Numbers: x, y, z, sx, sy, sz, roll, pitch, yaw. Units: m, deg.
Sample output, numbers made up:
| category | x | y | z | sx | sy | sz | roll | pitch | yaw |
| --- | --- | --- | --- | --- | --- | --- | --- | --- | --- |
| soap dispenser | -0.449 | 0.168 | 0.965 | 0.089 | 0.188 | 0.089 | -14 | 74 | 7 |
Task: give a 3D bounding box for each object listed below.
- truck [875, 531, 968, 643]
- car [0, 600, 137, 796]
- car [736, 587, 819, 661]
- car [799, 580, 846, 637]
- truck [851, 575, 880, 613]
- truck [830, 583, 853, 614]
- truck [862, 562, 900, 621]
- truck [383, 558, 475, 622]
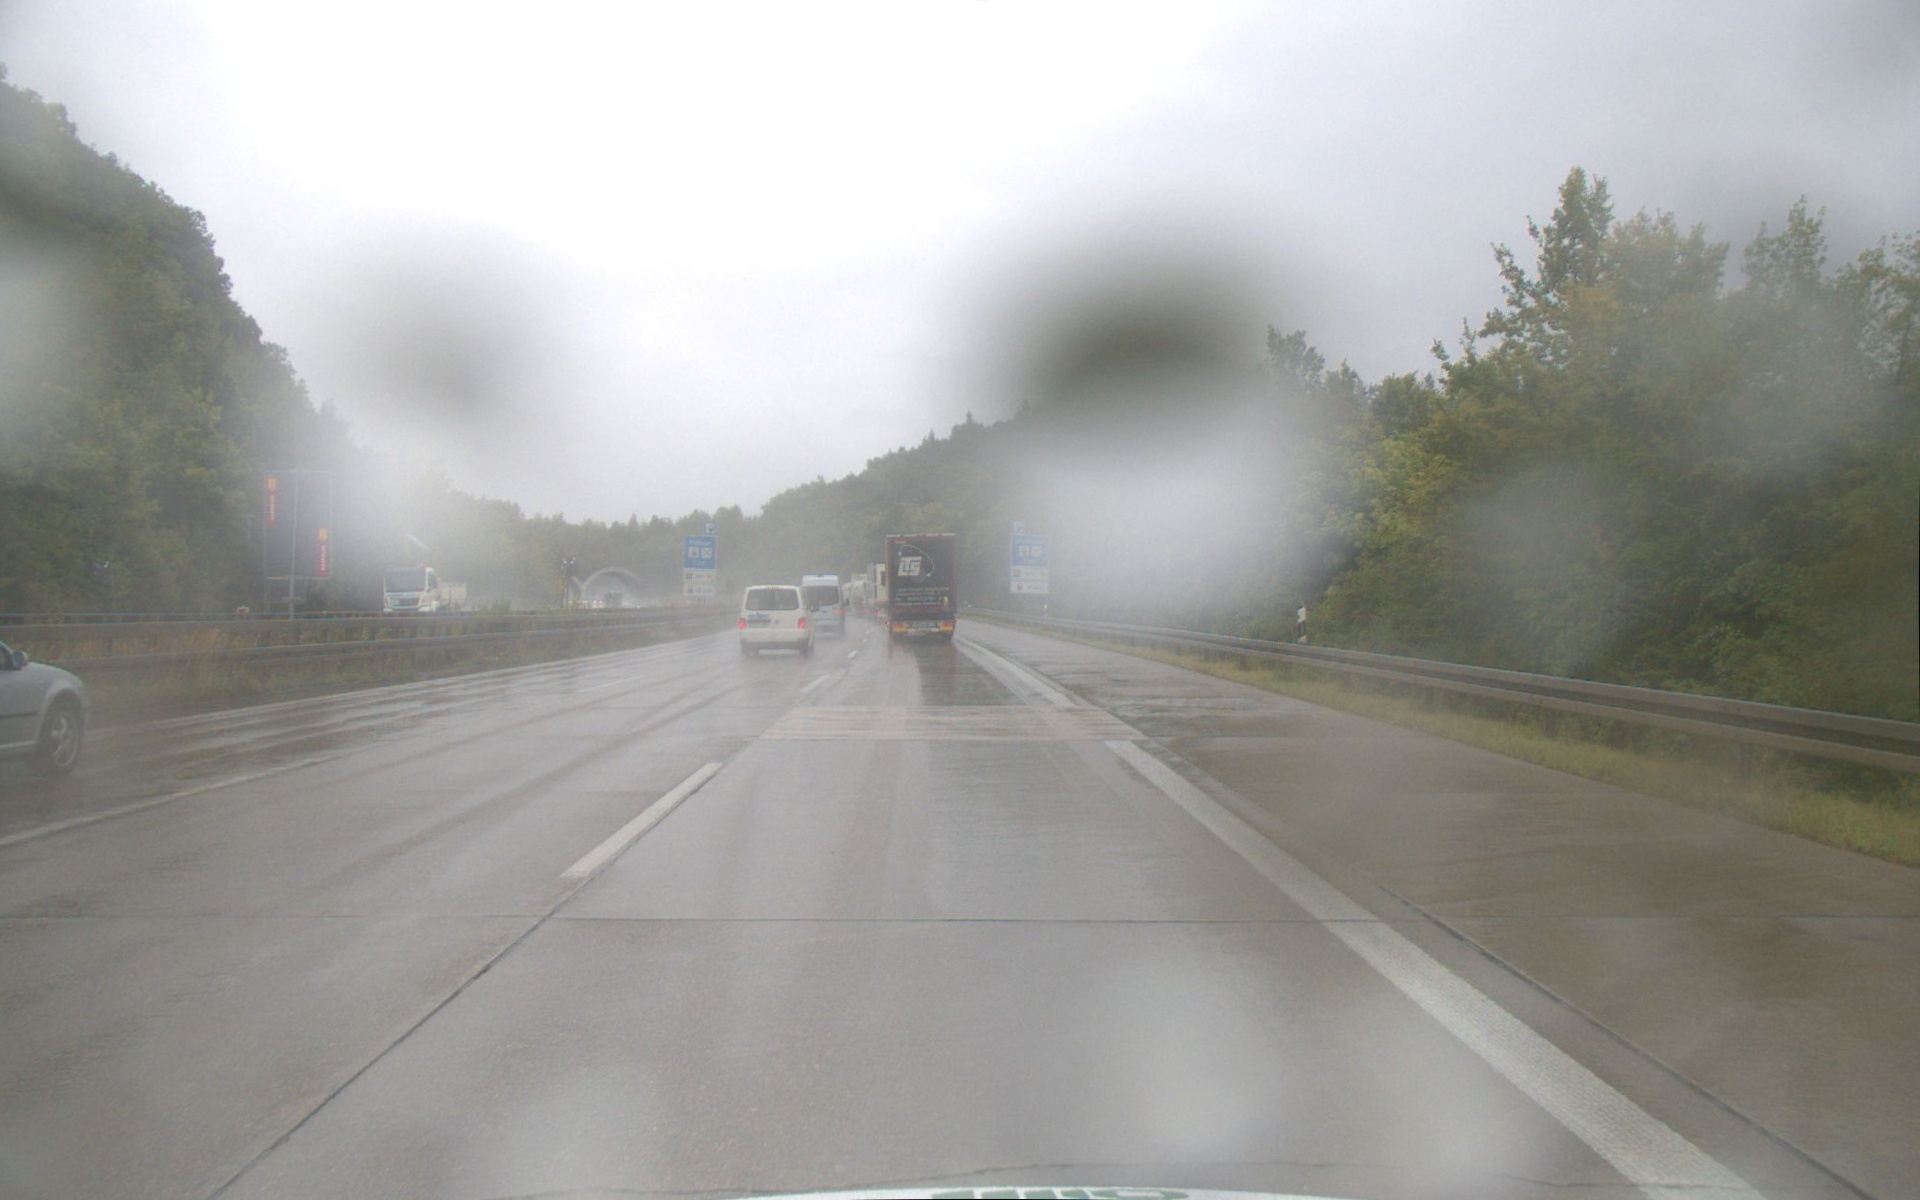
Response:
| category | x | y | z | sx | sy | sz | roll | pitch | yaw |
| --- | --- | --- | --- | --- | --- | --- | --- | --- | --- |
| truck | -1.533 | -0.629 | 65.268 | 3.317 | 4.037 | 8.665 | -2 | 2 | -2 |
| car | -7.989 | 0.729 | 12.281 | 1.633 | 1.459 | 4.349 | 1 | 0 | -1 |
| car | -5.051 | 0.647 | 46.316 | 1.861 | 1.927 | 5.041 | 1 | 0 | -1 |
| car | -5.960 | 0.343 | 71.361 | 1.863 | 2.374 | 5.243 | 1 | 0 | -6 |
| truck | -8.345 | -0.514 | 145.573 | 1.956 | 3.225 | 6.721 | 0 | 0 | -8 |
| truck | -12.609 | -0.134 | 175.318 | 1.956 | 3.225 | 6.721 | 0 | 0 | -8 |
| truck | -5.353 | -0.576 | 111.705 | 1.956 | 3.872 | 6.721 | 0 | 0 | -8 |
| truck | -27.093 | -0.499 | 84.735 | 2.251 | 3.071 | 7.920 | 1 | 0 | -1 |
